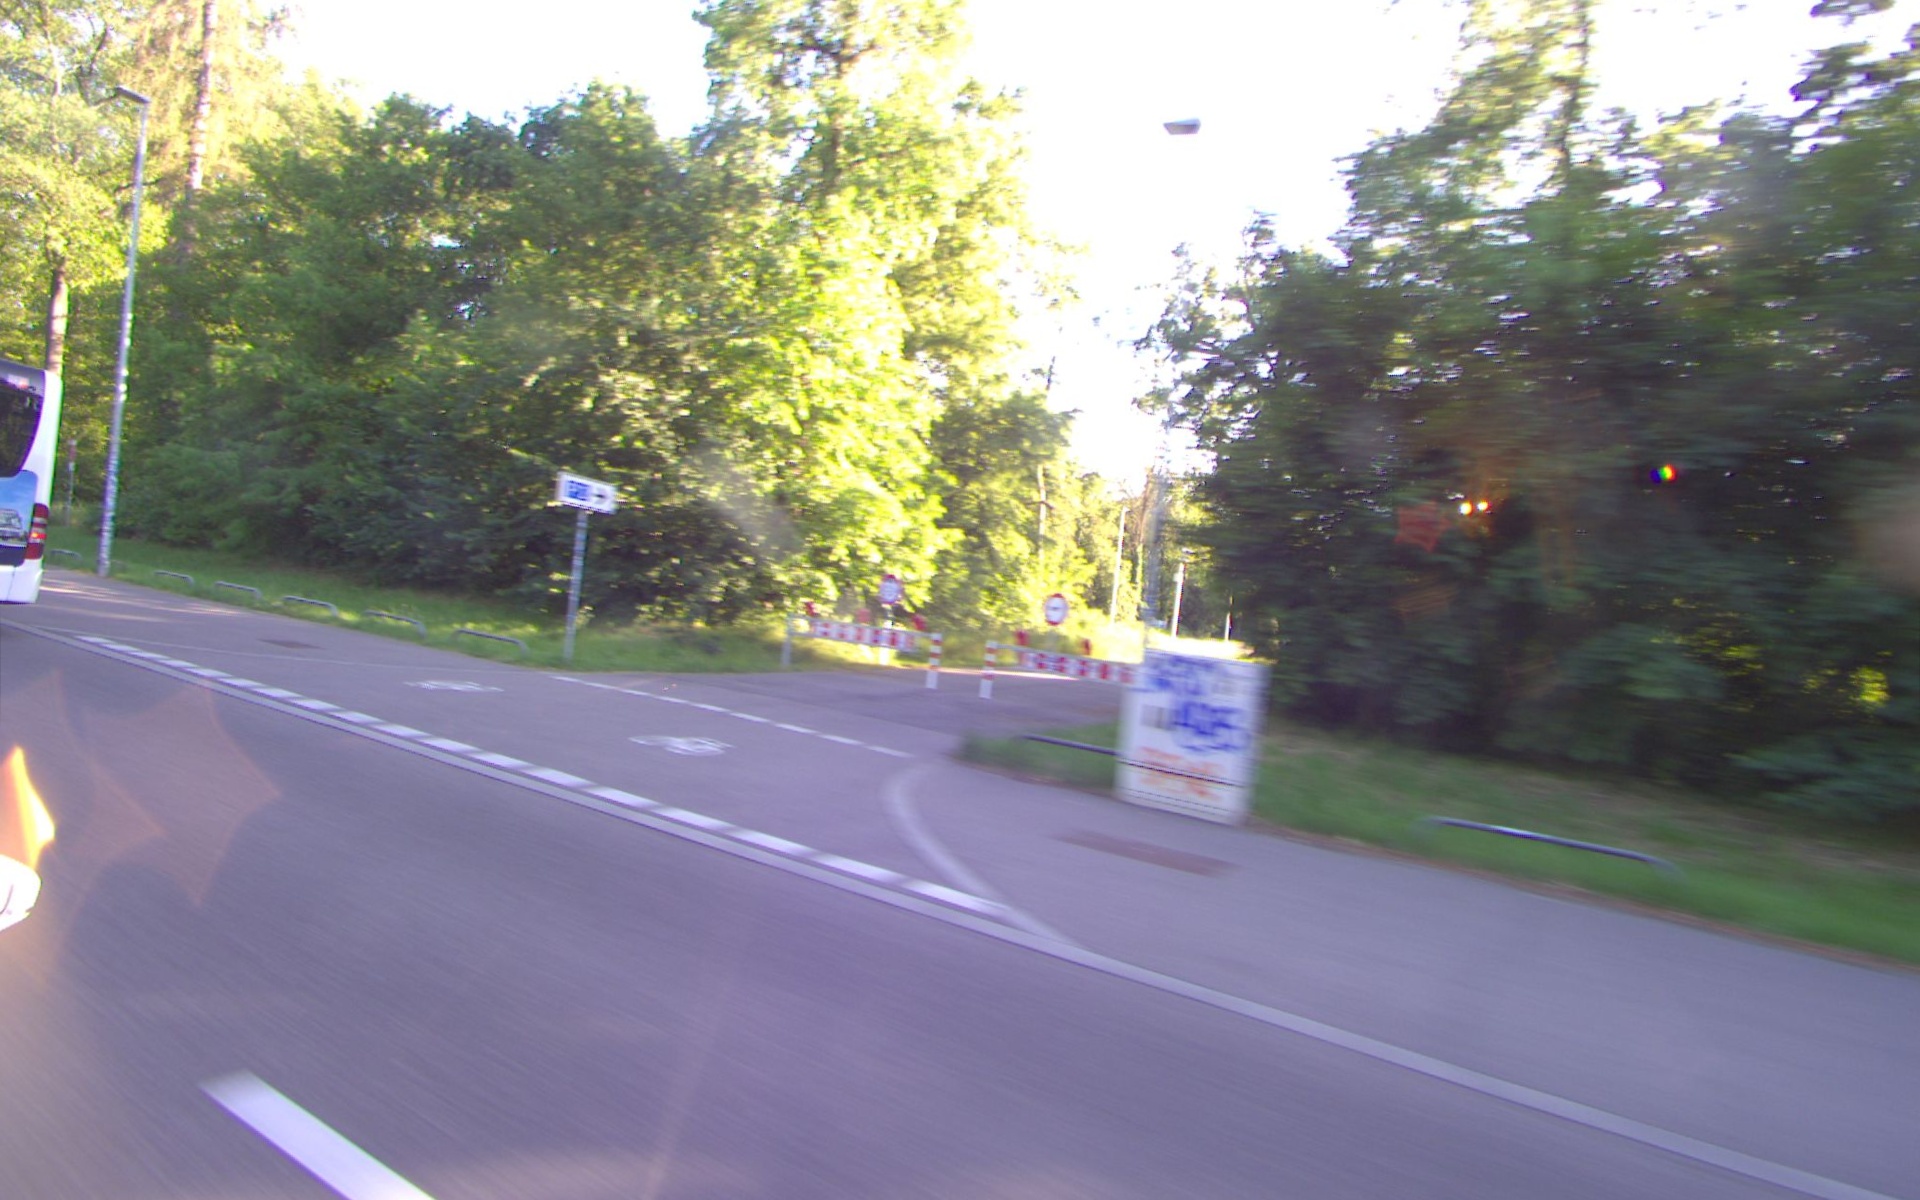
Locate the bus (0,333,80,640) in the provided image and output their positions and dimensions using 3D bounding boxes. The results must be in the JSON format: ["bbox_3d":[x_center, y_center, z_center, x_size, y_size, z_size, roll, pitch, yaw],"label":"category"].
[{"bbox_3d":[-15.209,-1.763,12.615,11.841,3.079,2.694,6,-1,32],"label":"bus"}]
